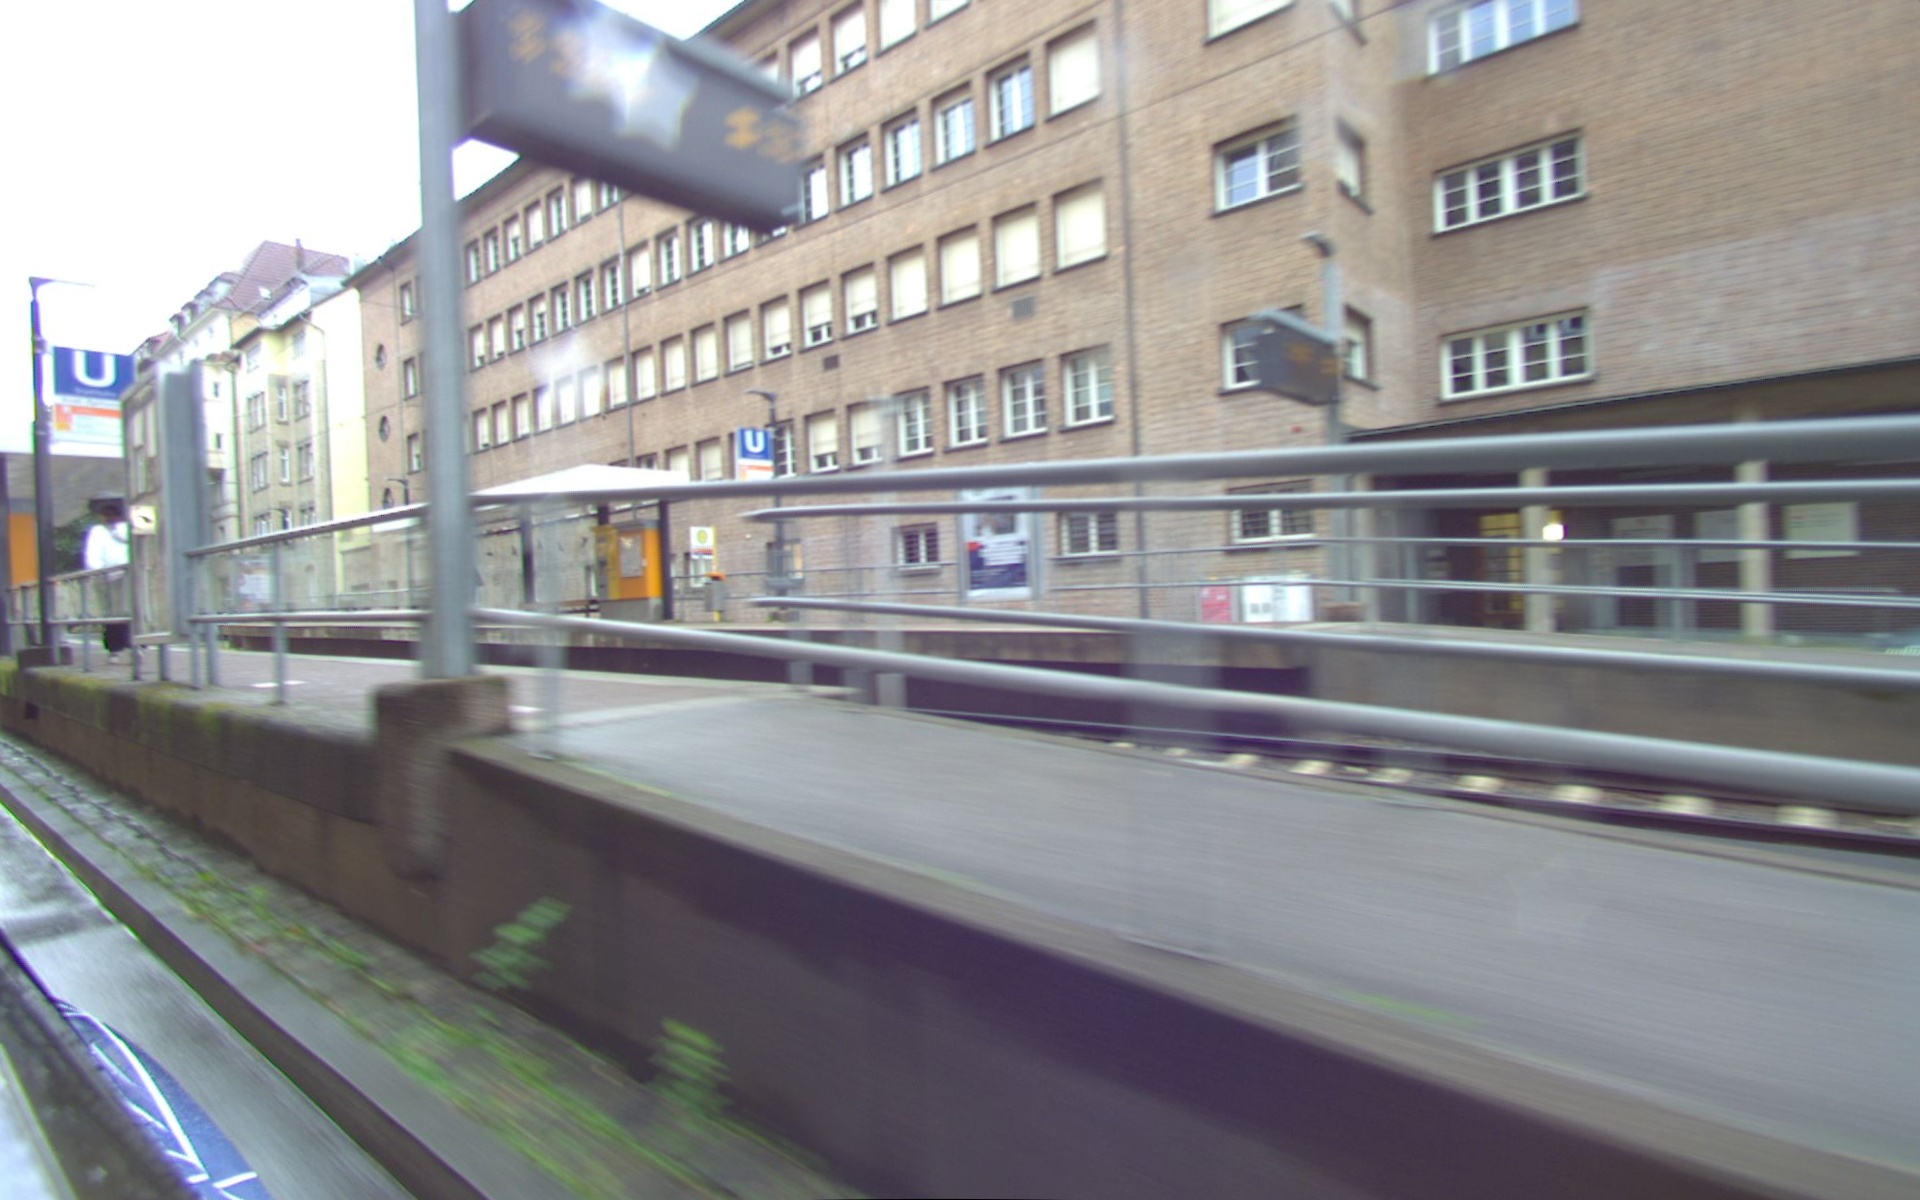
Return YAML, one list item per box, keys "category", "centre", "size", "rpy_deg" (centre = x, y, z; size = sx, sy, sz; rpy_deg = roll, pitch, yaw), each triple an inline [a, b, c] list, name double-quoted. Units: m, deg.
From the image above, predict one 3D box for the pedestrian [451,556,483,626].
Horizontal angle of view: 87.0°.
- category: "pedestrian"
  centre: [-12.340, -0.219, 25.338]
  size: [0.491, 1.722, 0.581]
  rpy_deg: [-2, -1, 40]

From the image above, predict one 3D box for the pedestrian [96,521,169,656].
- category: "pedestrian"
  centre: [-11.347, -0.155, 13.877]
  size: [0.710, 1.788, 0.637]
  rpy_deg: [-1, 0, 41]

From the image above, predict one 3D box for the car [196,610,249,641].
- category: "car"
  centre: [-37.765, 1.288, 51.802]
  size: [3.111, 1.477, 1.627]
  rpy_deg: [-1, 0, 43]

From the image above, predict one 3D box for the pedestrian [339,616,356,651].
- category: "pedestrian"
  centre: [-29.399, 1.619, 48.543]
  size: [0.542, 1.666, 0.542]
  rpy_deg: [-1, -2, 42]

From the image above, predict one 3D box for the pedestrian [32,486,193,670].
- category: "pedestrian"
  centre: [-8.861, -0.216, 10.589]
  size: [1.111, 1.788, 1.102]
  rpy_deg: [-1, 0, 41]

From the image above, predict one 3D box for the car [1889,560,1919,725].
- category: "car"
  centre: [11.009, 0.340, 8.406]
  size: [4.762, 1.508, 1.626]
  rpy_deg: [-1, 0, 41]

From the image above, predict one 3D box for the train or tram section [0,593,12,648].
- category: "train or tram section"
  centre: [-76.214, 1.604, 77.869]
  size: [19.850, 3.950, 2.687]
  rpy_deg: [-1, 1, 41]
